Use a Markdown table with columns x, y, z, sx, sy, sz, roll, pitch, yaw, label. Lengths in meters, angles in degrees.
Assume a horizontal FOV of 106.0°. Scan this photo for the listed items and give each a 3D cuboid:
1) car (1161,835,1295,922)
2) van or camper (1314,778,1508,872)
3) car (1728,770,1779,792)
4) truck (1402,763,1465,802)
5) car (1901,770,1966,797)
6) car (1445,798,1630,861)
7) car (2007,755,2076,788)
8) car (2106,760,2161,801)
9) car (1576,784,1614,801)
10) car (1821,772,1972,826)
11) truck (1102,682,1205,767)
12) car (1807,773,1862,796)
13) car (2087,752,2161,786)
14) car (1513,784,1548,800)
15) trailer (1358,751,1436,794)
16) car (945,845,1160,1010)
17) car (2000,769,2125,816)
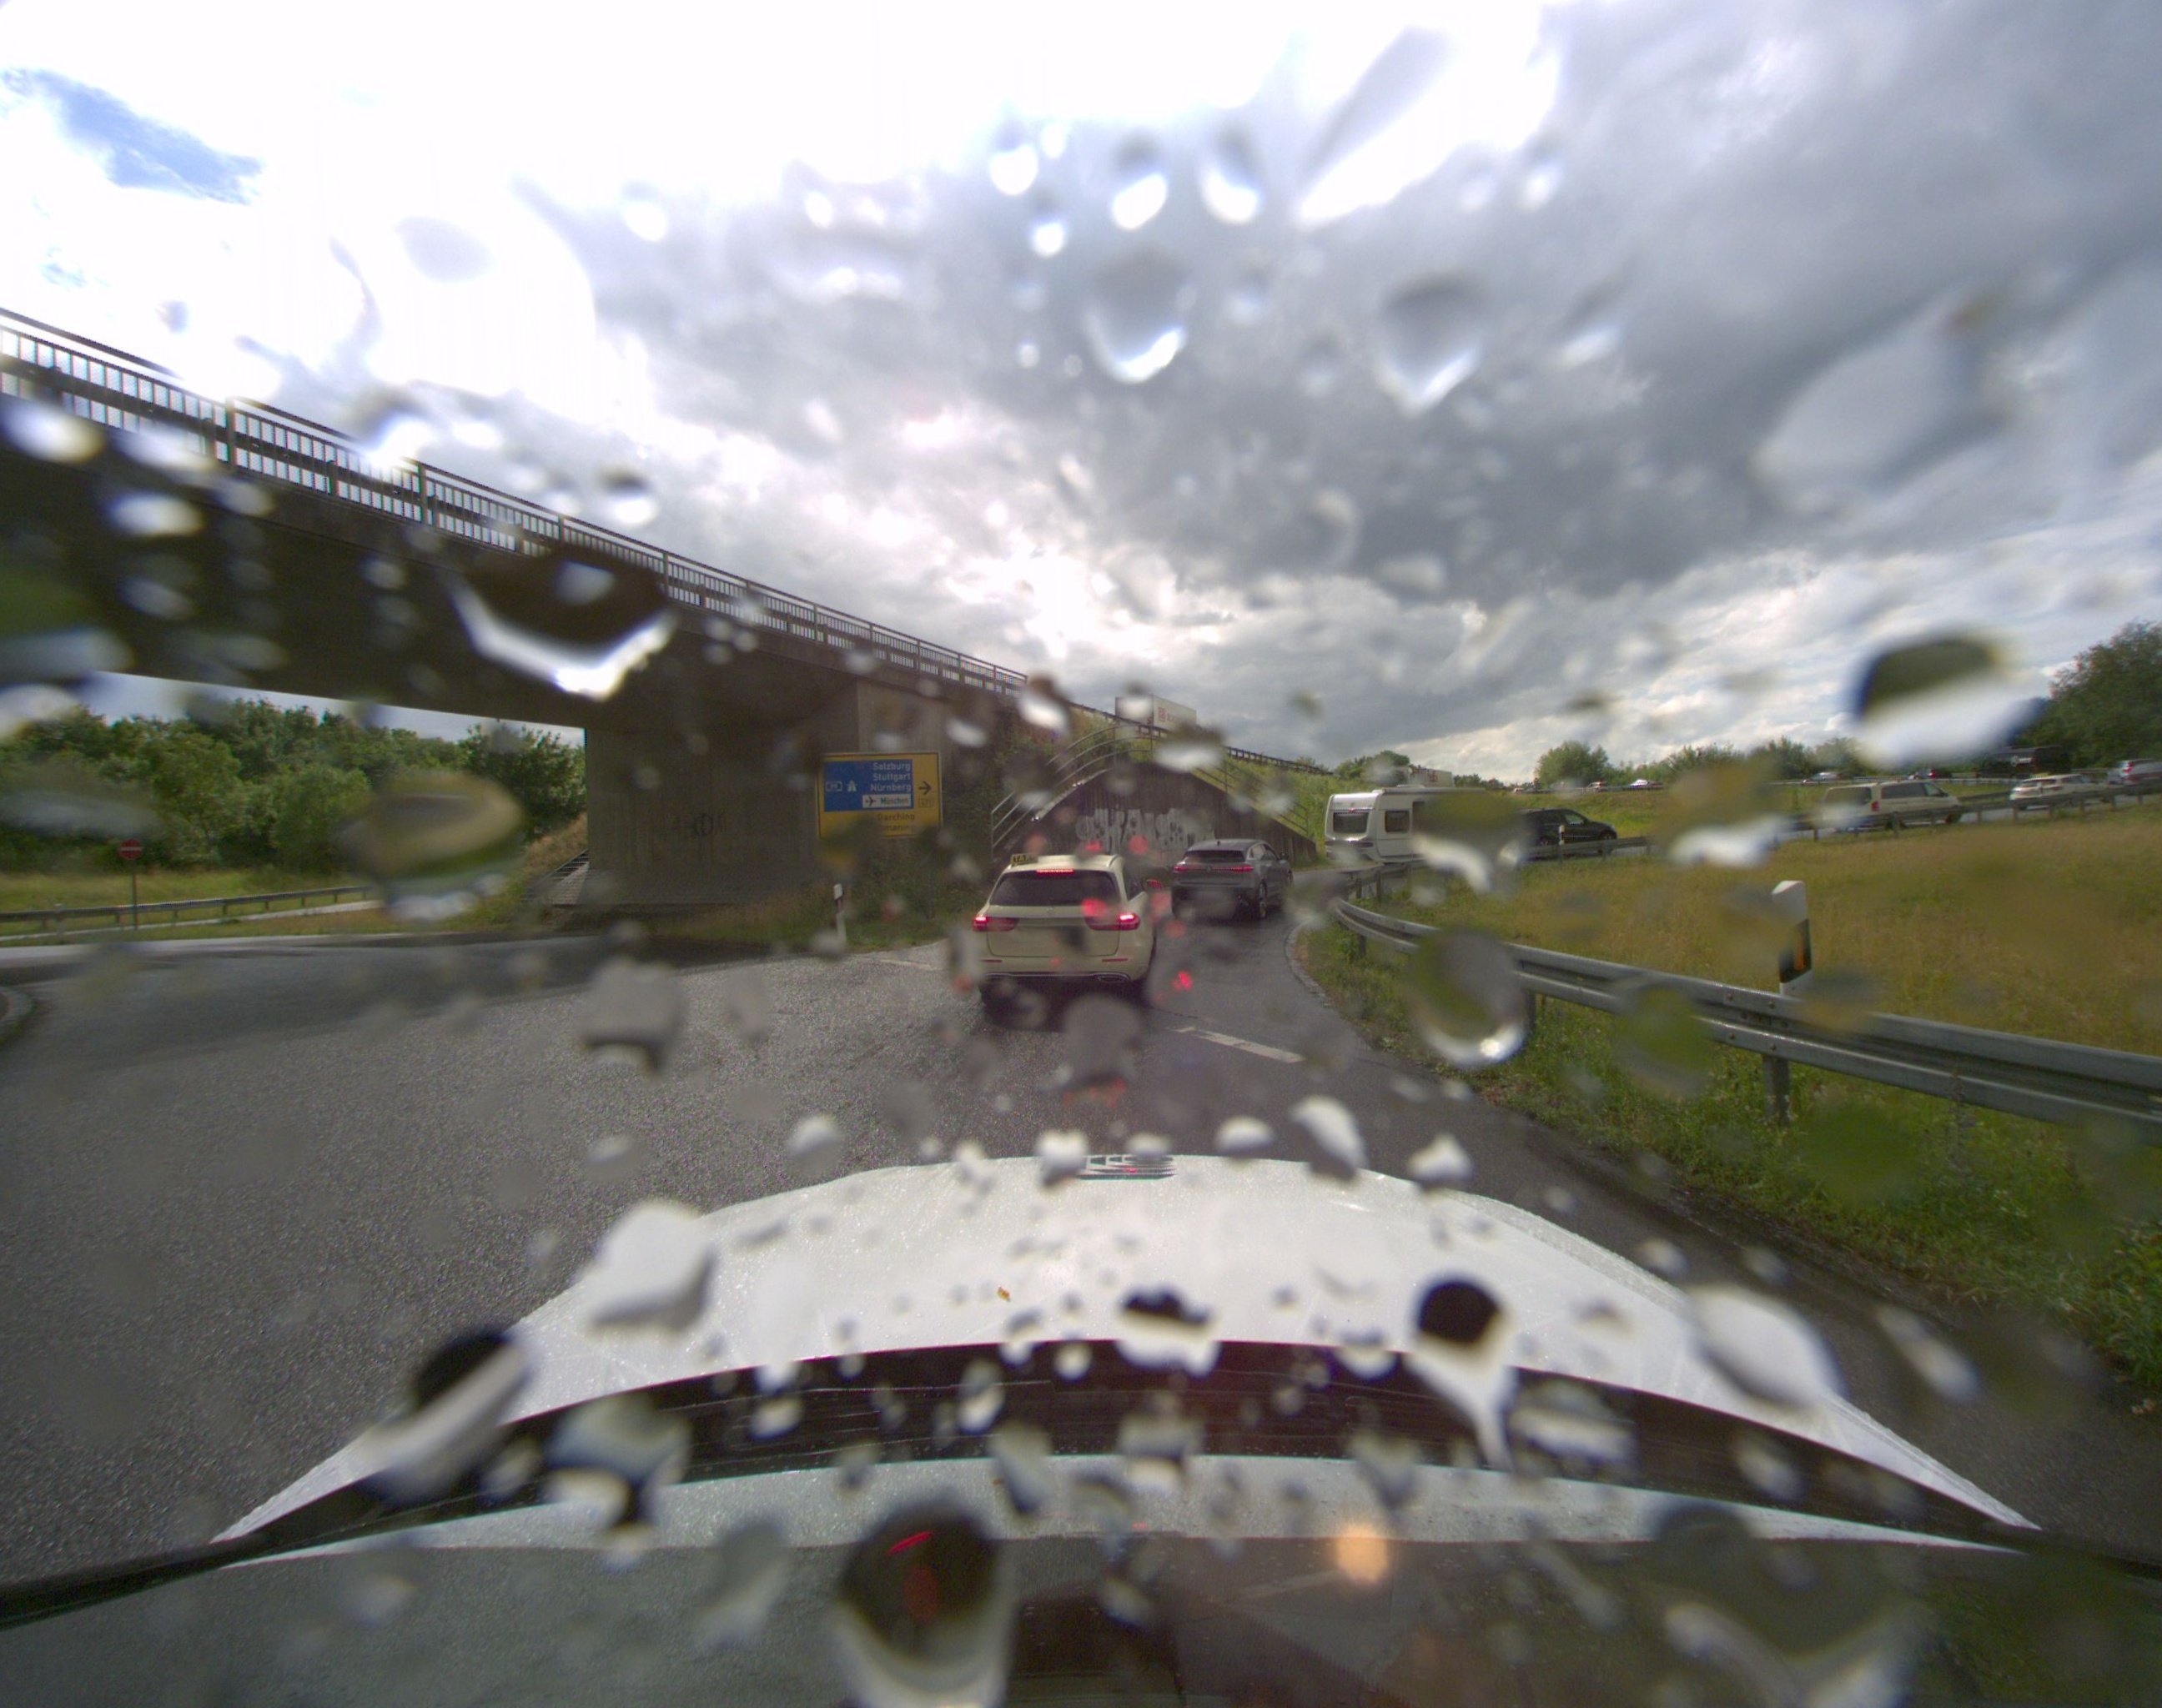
| x | y | z | sx | sy | sz | roll | pitch | yaw | label |
| --- | --- | --- | --- | --- | --- | --- | --- | --- | --- |
| 3.156 | 0.408 | 16.836 | 1.702 | 1.524 | 4.024 | 0 | 2 | 25 | car |
| 10.796 | -1.014 | 26.602 | 6.011 | 2.729 | 2.419 | -3 | 3 | -25 | van or camper |
| 74.165 | -8.027 | 89.850 | 1.994 | 2.013 | 3.986 | -1 | 0 | -11 | car |
| 53.362 | -10.589 | 122.696 | 4.417 | 4.502 | 19.501 | 0 | 1 | 36 | truck |
| 74.659 | -6.185 | 71.399 | 1.980 | 2.013 | 4.014 | -2 | 1 | 12 | car |
| 16.077 | -0.913 | 28.713 | 5.756 | 1.925 | 2.422 | -3 | 3 | -17 | car |
| 70.870 | -6.071 | 60.146 | 1.975 | 2.013 | 4.025 | 0 | 0 | 29 | car |
| 53.751 | -3.680 | 41.077 | 5.076 | 1.861 | 1.980 | -3 | 1 | -32 | car |
| 70.361 | -8.348 | 111.582 | 2.002 | 2.013 | 3.969 | -2 | 0 | -23 | car |
| 32.217 | -2.180 | 32.199 | 5.050 | 1.861 | 1.990 | -3 | 1 | -15 | car |
| 4.828 | -7.963 | 51.690 | 3.150 | 3.966 | 9.293 | 0 | 0 | 28 | truck |
| 75.820 | -7.014 | 82.030 | 1.985 | 2.013 | 4.005 | -3 | 2 | 4 | car |
| 64.953 | -5.261 | 50.782 | 1.644 | 1.784 | 5.090 | -2 | 1 | 38 | car |
| 66.059 | -9.120 | 119.642 | 2.010 | 2.013 | 3.953 | -2 | 0 | -40 | car |
| 41.765 | -10.418 | 106.811 | 4.370 | 3.955 | 20.348 | 0 | 1 | 36 | trailer |
| -0.050 | 0.681 | 9.840 | 1.906 | 1.507 | 4.604 | -1 | 0 | 6 | car |
| 44.486 | -2.790 | 36.910 | 5.057 | 1.861 | 1.987 | -3 | 1 | -19 | car |
